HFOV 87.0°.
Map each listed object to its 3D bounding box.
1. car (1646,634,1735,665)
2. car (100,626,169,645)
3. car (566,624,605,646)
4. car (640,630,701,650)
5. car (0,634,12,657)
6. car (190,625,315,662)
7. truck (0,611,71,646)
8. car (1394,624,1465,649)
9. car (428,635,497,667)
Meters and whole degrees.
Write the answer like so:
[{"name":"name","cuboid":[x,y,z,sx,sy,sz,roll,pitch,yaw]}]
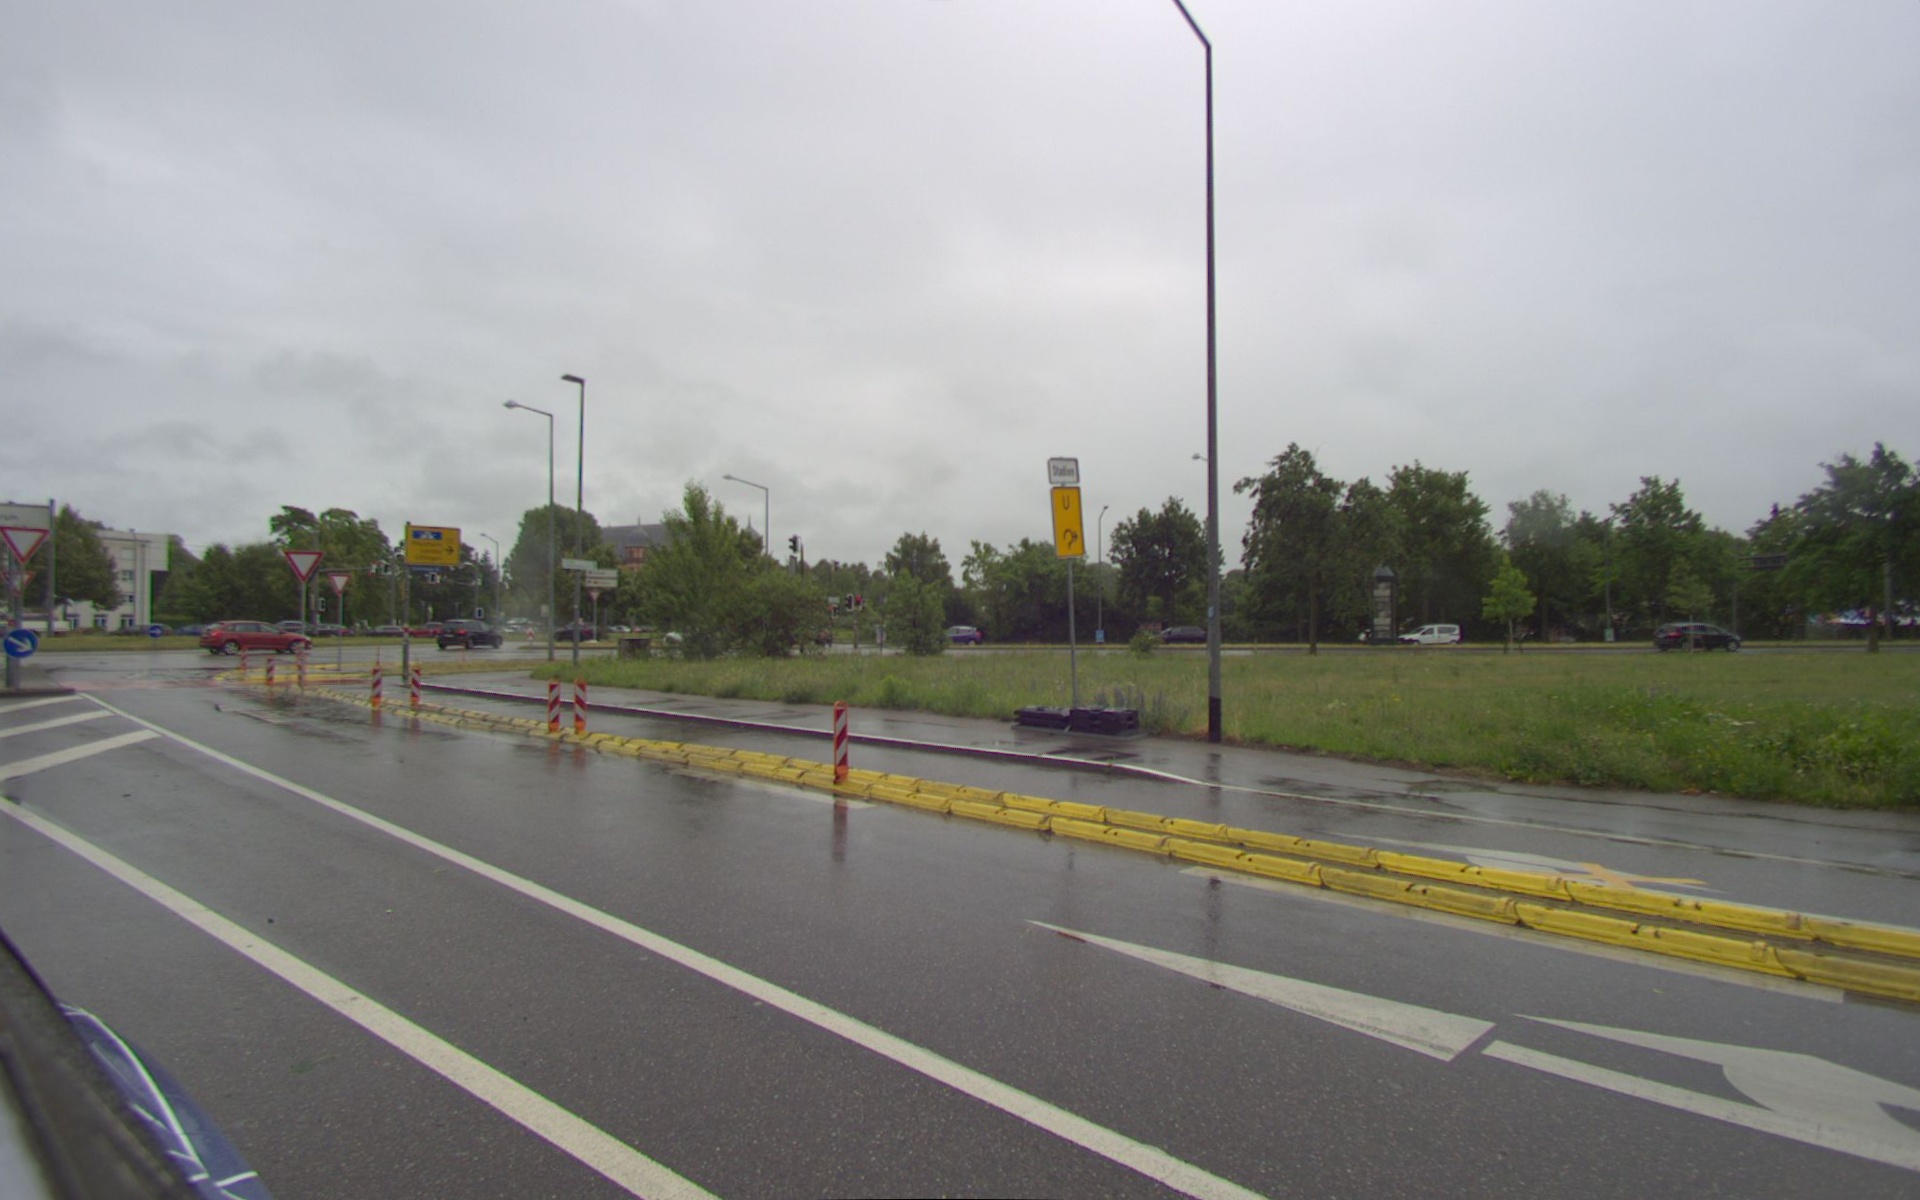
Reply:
[{"name":"car","cuboid":[43.023,2.909,59.632,3.942,1.660,1.790,1,0,-2]},{"name":"car","cuboid":[-64.412,2.760,79.054,3.931,1.461,1.853,1,-2,-30]},{"name":"car","cuboid":[-31.462,2.899,84.976,1.760,1.660,4.397,2,0,-38]},{"name":"car","cuboid":[-22.024,3.026,76.990,4.212,1.386,1.624,1,0,16]},{"name":"car","cuboid":[-72.056,3.352,73.798,1.786,1.660,3.951,1,0,36]},{"name":"car","cuboid":[-31.528,1.883,45.184,1.787,1.470,4.259,0,0,39]},{"name":"truck","cuboid":[-76.467,2.250,80.314,2.000,2.731,8.675,1,0,42]},{"name":"car","cuboid":[33.814,2.622,72.953,4.277,1.660,1.790,1,0,-3]},{"name":"car","cuboid":[-27.269,2.766,55.644,1.763,1.529,4.333,0,0,-2]}]
